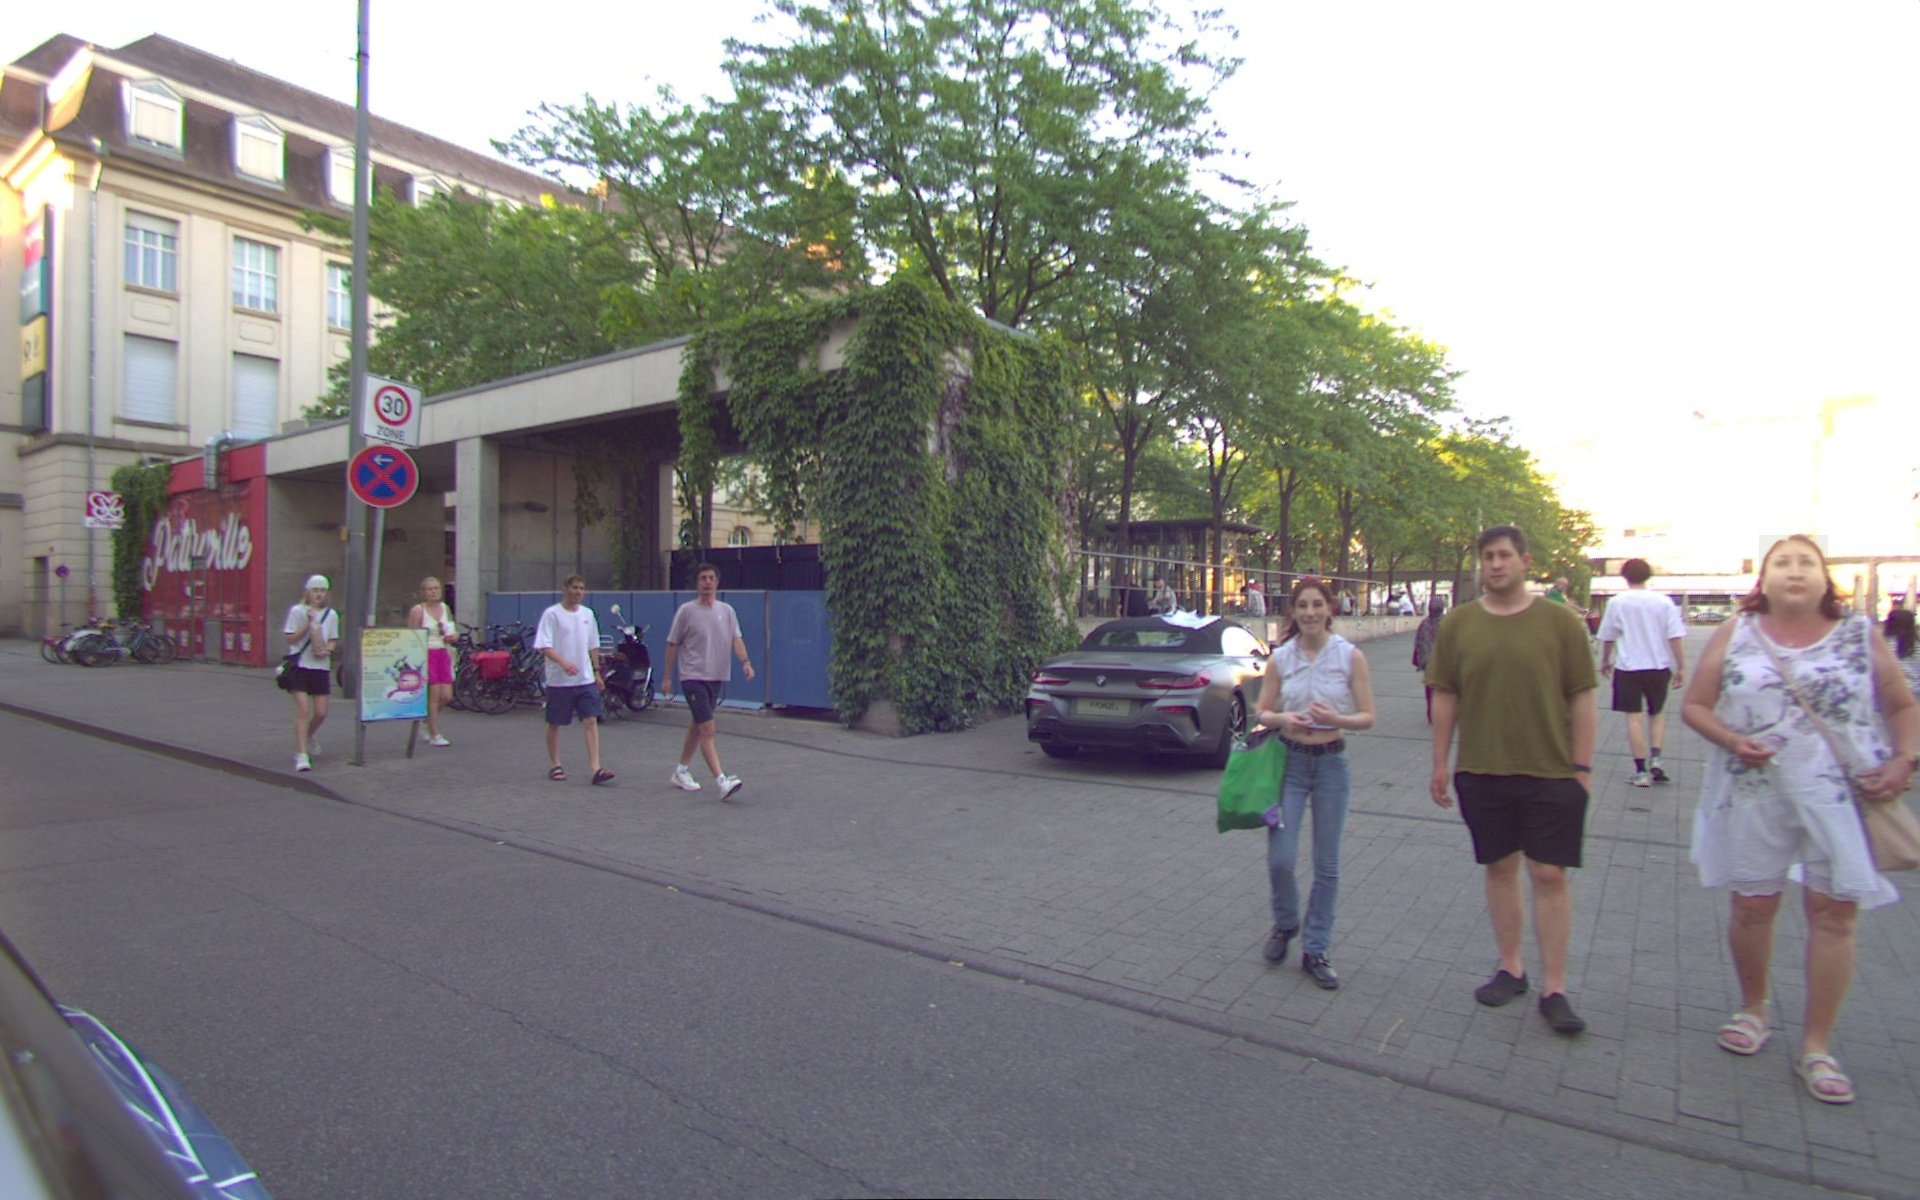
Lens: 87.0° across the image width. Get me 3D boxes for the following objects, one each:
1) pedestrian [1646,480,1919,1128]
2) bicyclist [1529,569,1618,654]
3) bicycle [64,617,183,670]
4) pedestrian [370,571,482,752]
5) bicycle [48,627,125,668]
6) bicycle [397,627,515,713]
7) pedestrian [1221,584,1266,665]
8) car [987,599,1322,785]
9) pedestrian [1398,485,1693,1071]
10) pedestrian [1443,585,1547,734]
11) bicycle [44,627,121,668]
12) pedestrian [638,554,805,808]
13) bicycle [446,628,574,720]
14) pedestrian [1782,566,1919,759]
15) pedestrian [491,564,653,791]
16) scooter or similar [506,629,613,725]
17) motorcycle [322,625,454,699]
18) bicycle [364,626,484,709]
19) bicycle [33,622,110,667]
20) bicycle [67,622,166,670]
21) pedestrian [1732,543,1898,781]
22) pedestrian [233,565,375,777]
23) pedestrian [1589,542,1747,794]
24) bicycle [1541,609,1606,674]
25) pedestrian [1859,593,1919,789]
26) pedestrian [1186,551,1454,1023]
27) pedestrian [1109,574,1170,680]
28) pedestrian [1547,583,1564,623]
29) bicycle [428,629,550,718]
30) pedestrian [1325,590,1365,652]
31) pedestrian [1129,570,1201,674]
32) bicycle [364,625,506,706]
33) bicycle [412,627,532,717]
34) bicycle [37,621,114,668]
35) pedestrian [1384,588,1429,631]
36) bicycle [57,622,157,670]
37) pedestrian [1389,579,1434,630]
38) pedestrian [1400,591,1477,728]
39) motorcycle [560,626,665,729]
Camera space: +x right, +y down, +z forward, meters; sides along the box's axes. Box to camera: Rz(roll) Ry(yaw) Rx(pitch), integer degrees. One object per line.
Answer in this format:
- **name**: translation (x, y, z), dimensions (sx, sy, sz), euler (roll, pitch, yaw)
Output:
- **pedestrian**: translation (2.778, 0.569, 3.224), dimensions (0.882, 1.816, 0.704), euler (-1, 0, 42)
- **bicyclist**: translation (11.362, 0.207, 18.782), dimensions (1.377, 1.521, 0.745), euler (0, -1, 32)
- **bicycle**: translation (-20.135, 1.033, 24.409), dimensions (0.445, 1.164, 2.152), euler (-1, 0, 42)
- **pedestrian**: translation (-5.609, 0.607, 10.631), dimensions (0.736, 1.807, 0.802), euler (-1, 0, 39)
- **bicycle**: translation (-22.385, 1.211, 25.968), dimensions (0.311, 0.963, 1.487), euler (-1, 0, 28)
- **bicycle**: translation (-7.091, 0.953, 14.302), dimensions (0.410, 1.096, 1.481), euler (-1, 0, 33)
- **pedestrian**: translation (6.214, 0.525, 22.183), dimensions (0.802, 1.740, 0.616), euler (0, -1, 35)
- **car**: translation (2.251, 0.738, 10.528), dimensions (2.098, 1.441, 4.404), euler (-1, 0, 30)
- **pedestrian**: translation (2.206, 0.573, 3.810), dimensions (0.851, 1.891, 0.705), euler (-1, 0, 39)
- **pedestrian**: translation (6.047, 0.640, 11.448), dimensions (0.718, 1.594, 0.801), euler (-1, 0, -37)
- **bicycle**: translation (-22.646, 1.216, 26.136), dimensions (0.311, 0.986, 1.487), euler (-1, 0, 28)
- **pedestrian**: translation (-1.927, 0.601, 8.216), dimensions (0.889, 1.898, 0.972), euler (-1, 0, 39)
- **bicycle**: translation (-5.924, 0.945, 13.382), dimensions (0.546, 1.096, 1.481), euler (-1, 0, 33)
- **pedestrian**: translation (8.444, 0.571, 9.613), dimensions (0.707, 1.759, 0.686), euler (-1, 0, 7)
- **pedestrian**: translation (-3.328, 0.614, 8.702), dimensions (0.889, 1.807, 0.972), euler (-1, 0, 39)
- **scooter or similar**: translation (-5.090, 0.948, 12.954), dimensions (0.407, 1.096, 1.488), euler (-1, 0, 18)
- **motorcycle**: translation (-9.154, 0.974, 16.276), dimensions (1.797, 1.077, 0.535), euler (-1, 0, -25)
- **bicycle**: translation (-7.798, 0.959, 14.758), dimensions (0.436, 1.096, 1.476), euler (-1, 0, 43)
- **bicycle**: translation (-23.222, 1.144, 26.474), dimensions (0.311, 1.084, 1.487), euler (-1, 0, 28)
- **bicycle**: translation (-20.466, 1.095, 24.579), dimensions (0.354, 1.091, 1.820), euler (0, 0, 42)
- **pedestrian**: translation (7.148, 0.486, 8.490), dimensions (0.702, 1.889, 0.783), euler (-1, 0, -14)
- **pedestrian**: translation (-5.962, 0.600, 9.202), dimensions (0.868, 1.807, 0.841), euler (-1, 0, 39)
- **pedestrian**: translation (5.696, 0.499, 8.154), dimensions (0.983, 1.867, 0.879), euler (-1, 0, 37)
- **bicycle**: translation (11.230, 0.725, 18.596), dimensions (0.948, 1.110, 2.305), euler (0, -1, 29)
- **pedestrian**: translation (7.673, 0.696, 7.947), dimensions (0.597, 1.497, 0.715), euler (-1, 0, 7)
- **pedestrian**: translation (1.377, 0.669, 4.033), dimensions (0.873, 1.681, 0.712), euler (-1, 0, 10)
- **pedestrian**: translation (3.137, 0.461, 17.676), dimensions (0.796, 1.795, 0.752), euler (0, 0, 38)
- **pedestrian**: translation (29.316, 0.142, 49.804), dimensions (0.728, 1.963, 0.796), euler (0, -1, 32)
- **bicycle**: translation (-6.312, 0.954, 13.638), dimensions (0.441, 1.077, 1.481), euler (-1, 0, 33)
- **pedestrian**: translation (11.030, 0.586, 28.989), dimensions (0.919, 1.740, 0.694), euler (0, -1, 35)
- **pedestrian**: translation (3.742, 0.387, 18.468), dimensions (1.120, 1.833, 0.694), euler (0, -1, 35)
- **bicycle**: translation (-7.957, 0.958, 15.411), dimensions (0.549, 1.095, 1.849), euler (-1, 0, 38)
- **bicycle**: translation (-6.649, 0.955, 13.849), dimensions (0.410, 1.120, 1.481), euler (-1, 0, 33)
- **bicycle**: translation (-22.936, 1.141, 26.281), dimensions (0.311, 1.149, 1.487), euler (-1, 0, 28)
- **pedestrian**: translation (14.785, 0.311, 33.489), dimensions (1.264, 1.390, 0.729), euler (0, -1, 33)
- **bicycle**: translation (-20.869, 1.112, 24.793), dimensions (0.354, 1.091, 1.820), euler (-1, 0, 42)
- **pedestrian**: translation (15.173, 0.157, 34.018), dimensions (1.264, 1.660, 0.700), euler (0, -1, 34)
- **pedestrian**: translation (5.676, 0.681, 12.002), dimensions (0.680, 1.554, 0.584), euler (-1, 0, 42)
- **motorcycle**: translation (-4.287, 0.921, 12.615), dimensions (0.530, 1.135, 1.826), euler (-1, 0, 5)
